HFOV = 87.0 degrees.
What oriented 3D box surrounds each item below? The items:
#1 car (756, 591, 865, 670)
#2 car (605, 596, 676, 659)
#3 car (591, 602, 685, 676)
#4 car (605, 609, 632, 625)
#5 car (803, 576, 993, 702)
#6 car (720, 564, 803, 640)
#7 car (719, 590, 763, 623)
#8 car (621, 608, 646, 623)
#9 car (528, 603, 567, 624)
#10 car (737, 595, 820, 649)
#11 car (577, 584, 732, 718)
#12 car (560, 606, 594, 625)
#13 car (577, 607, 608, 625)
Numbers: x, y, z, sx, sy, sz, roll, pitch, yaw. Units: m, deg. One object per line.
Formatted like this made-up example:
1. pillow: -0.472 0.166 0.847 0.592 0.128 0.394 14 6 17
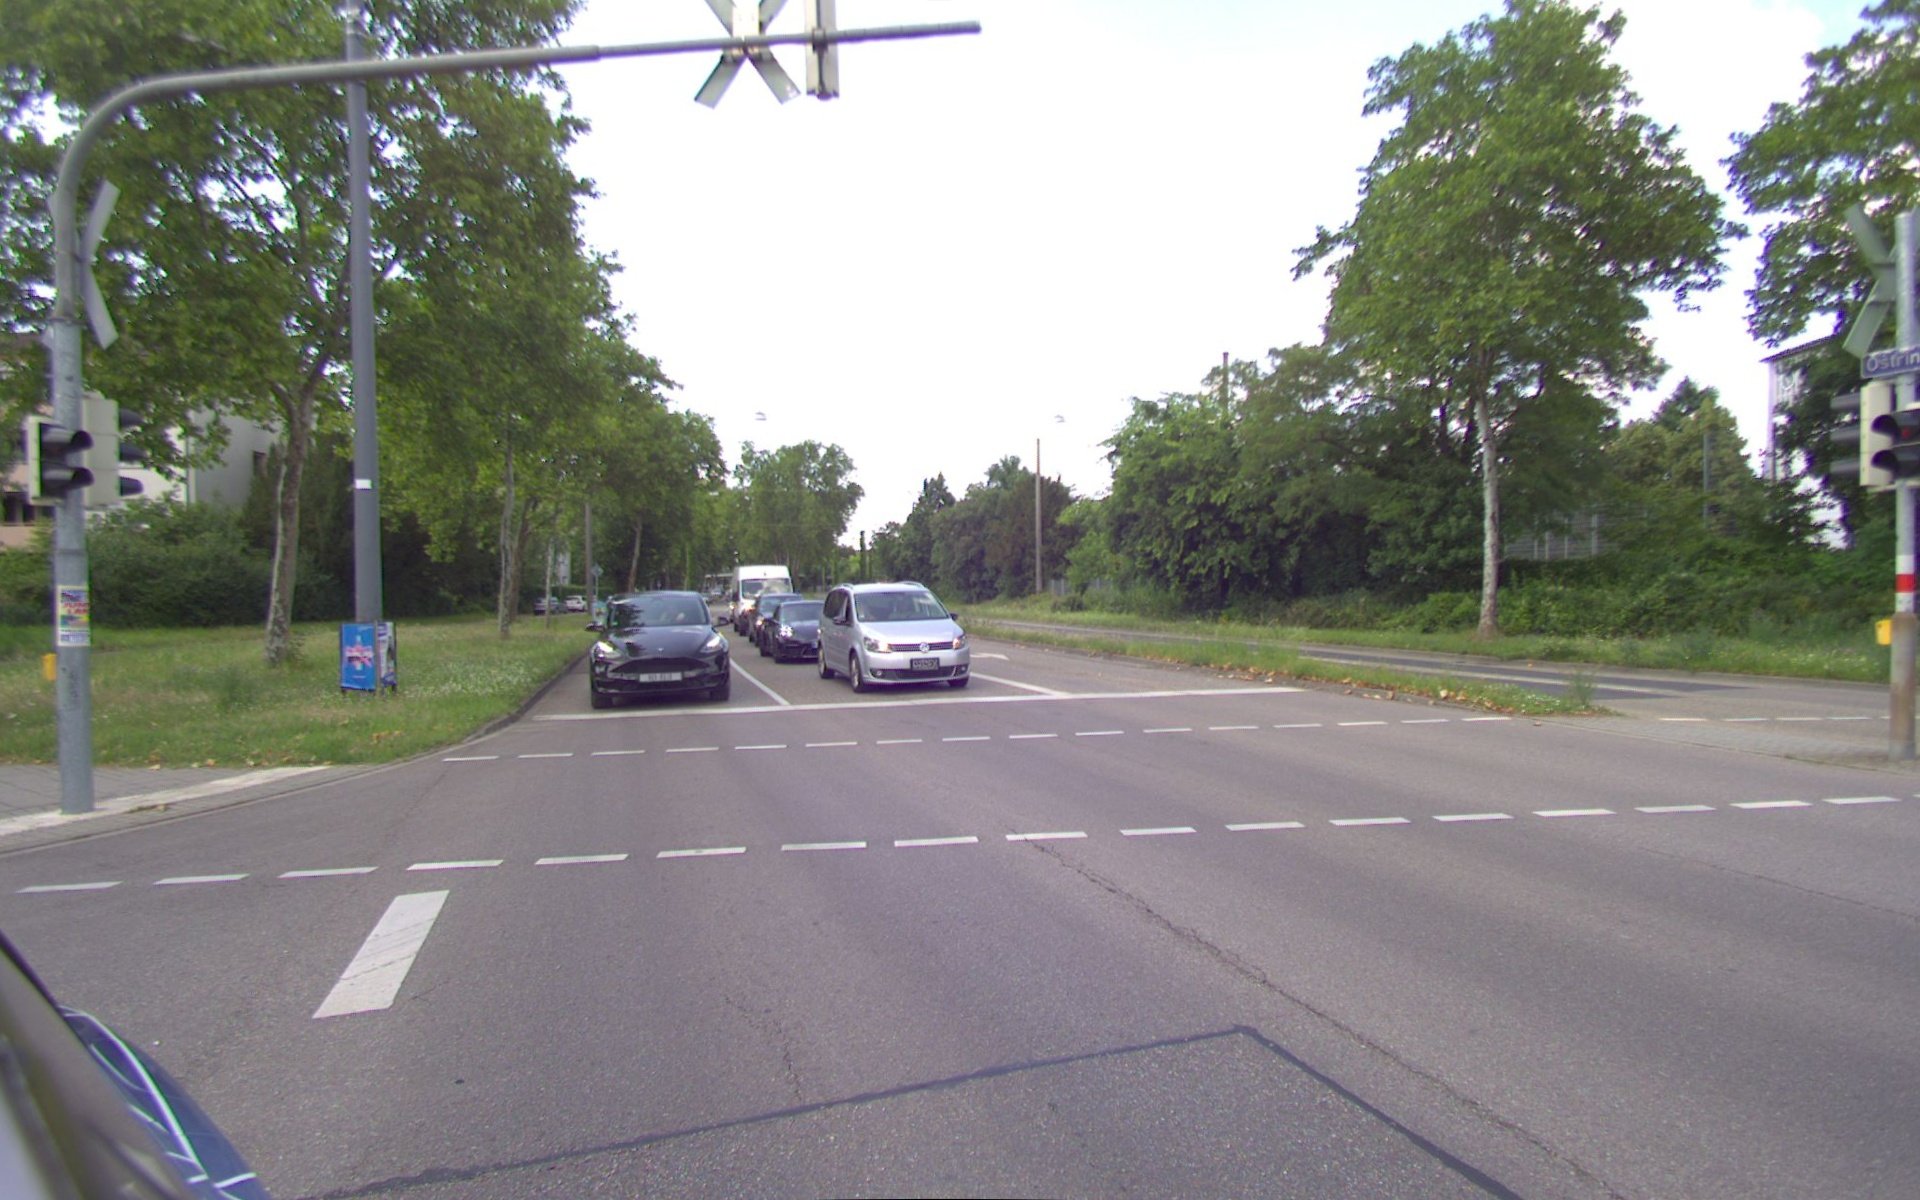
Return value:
1. car: -3.437 0.606 22.694 1.774 1.519 4.012 -3 1 -17
2. car: -9.323 0.728 29.411 1.771 1.581 4.516 -3 1 -19
3. car: -7.318 0.797 22.905 1.771 1.401 4.516 -3 1 -19
4. car: -35.774 1.800 106.089 1.751 1.608 3.658 -1 -1 -3
5. car: -1.178 0.523 16.422 1.898 1.664 4.516 -3 1 -19
6. car: -7.526 0.050 37.789 2.189 2.548 5.952 -3 1 -19
7. car: -11.600 0.303 53.406 1.734 1.659 4.357 -1 0 -19
8. car: -36.702 1.750 113.946 1.751 1.608 3.658 -1 -1 -3
9. car: -33.274 1.114 81.725 1.751 1.608 3.658 -1 -1 -3
10. car: -5.426 0.595 29.833 1.735 1.385 4.357 -3 1 -19
11. car: -4.682 0.646 15.584 1.899 1.664 4.594 -3 1 -17
12. car: -34.321 1.373 90.801 1.751 1.608 3.658 -1 -1 -3
13. car: -34.532 1.489 95.120 1.751 1.608 3.658 -1 -1 -3
